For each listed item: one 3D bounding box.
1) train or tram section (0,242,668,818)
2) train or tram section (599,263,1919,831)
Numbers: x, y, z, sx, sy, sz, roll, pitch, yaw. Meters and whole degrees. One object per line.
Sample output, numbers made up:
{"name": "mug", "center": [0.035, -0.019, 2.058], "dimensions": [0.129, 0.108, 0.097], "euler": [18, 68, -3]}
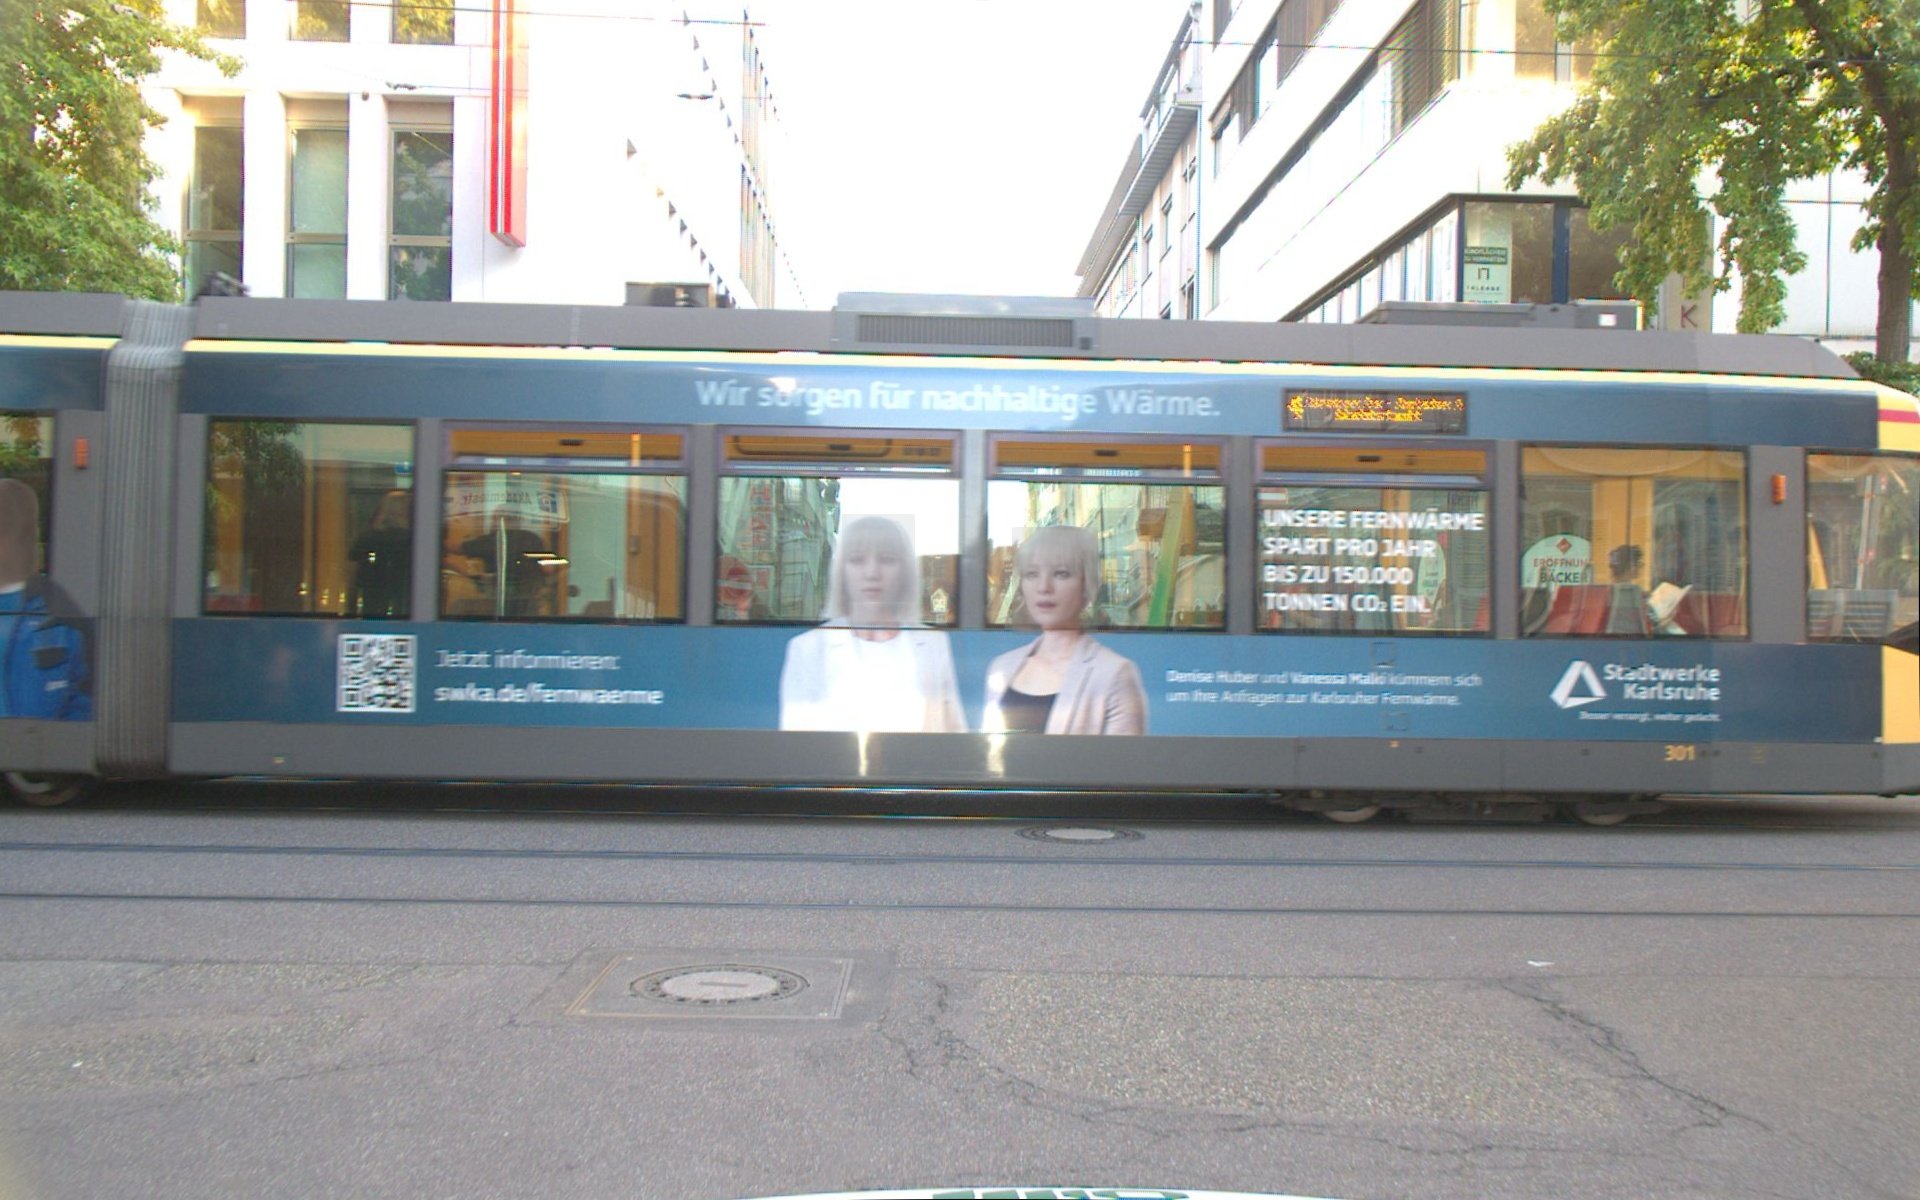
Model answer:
{"name": "train or tram section", "center": [-7.441, -0.449, 11.797], "dimensions": [10.158, 3.585, 3.016], "euler": [1, -1, -2]}
{"name": "train or tram section", "center": [2.753, -0.317, 12.139], "dimensions": [10.127, 3.585, 3.025], "euler": [0, 0, -2]}
